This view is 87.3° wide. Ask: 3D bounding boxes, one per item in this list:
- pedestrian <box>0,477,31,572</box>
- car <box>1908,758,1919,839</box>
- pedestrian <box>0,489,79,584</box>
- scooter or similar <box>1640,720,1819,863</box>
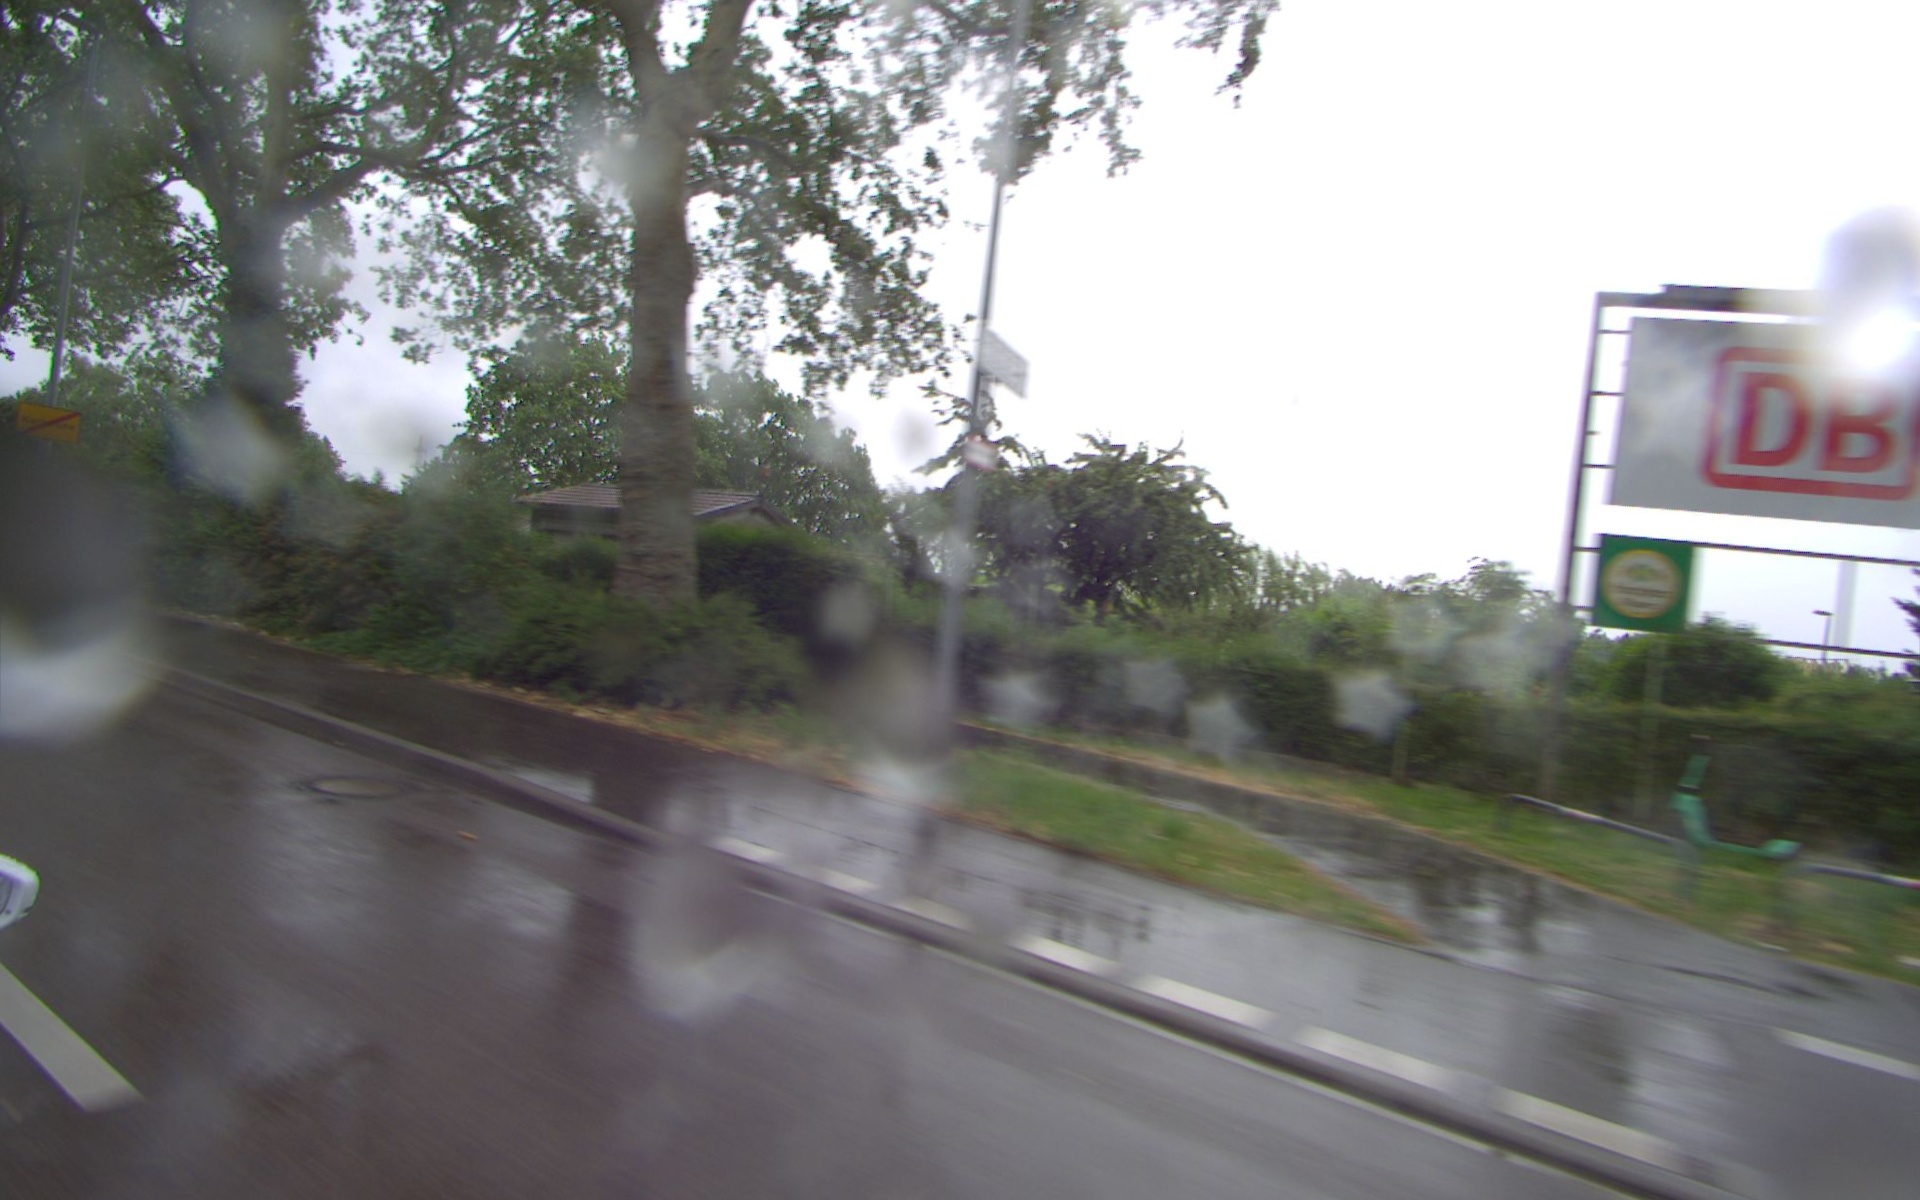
[{"bbox_3d":[-17.257,-1.386,17.684,1.272,1.609,0.948,7,0,32],"label":"pedestrian"},{"bbox_3d":[14.147,2.704,13.159,1.630,1.514,3.388,9,-1,30],"label":"car"},{"bbox_3d":[-15.009,-1.033,16.221,0.999,1.408,0.893,7,1,32],"label":"pedestrian"},{"bbox_3d":[7.528,1.844,9.868,1.259,1.130,0.458,6,-2,44],"label":"scooter or similar"}]
